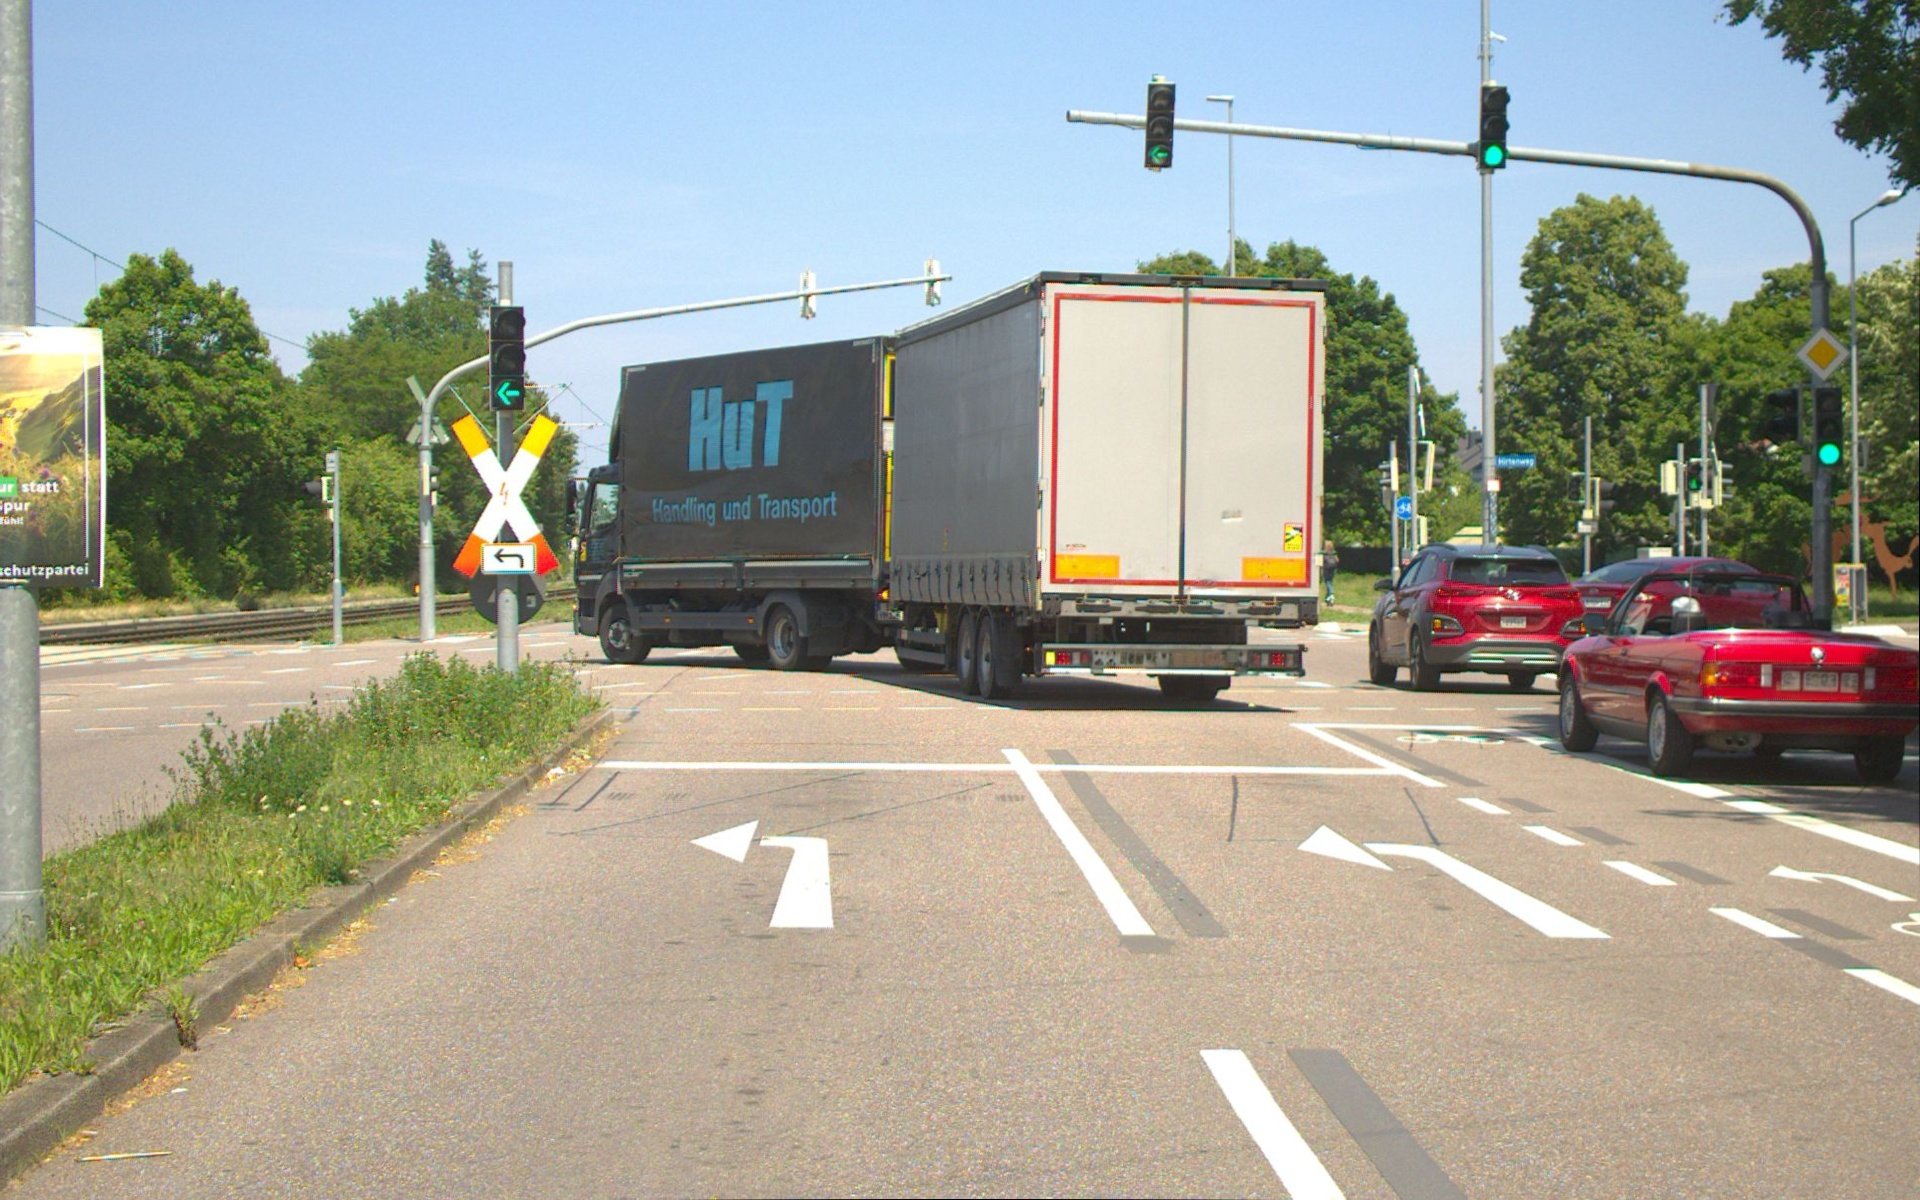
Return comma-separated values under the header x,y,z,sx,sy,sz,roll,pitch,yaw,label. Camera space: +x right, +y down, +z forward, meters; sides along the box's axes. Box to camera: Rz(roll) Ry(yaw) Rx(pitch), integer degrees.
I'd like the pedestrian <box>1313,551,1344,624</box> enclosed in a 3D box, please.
x,y,z,sx,sy,sz,roll,pitch,yaw,label
10.276,-0.341,95.850,0.742,2.007,0.613,1,1,-1,pedestrian

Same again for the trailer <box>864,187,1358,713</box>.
x,y,z,sx,sy,sz,roll,pitch,yaw,label
1.178,-1.349,33.542,2.826,4.406,8.752,1,1,-11,trailer

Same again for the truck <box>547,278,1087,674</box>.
x,y,z,sx,sy,sz,roll,pitch,yaw,label
-1.959,-1.451,41.794,2.827,4.329,8.284,1,1,-31,truck

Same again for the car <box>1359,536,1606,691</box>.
x,y,z,sx,sy,sz,roll,pitch,yaw,label
5.542,0.101,36.905,1.858,1.544,3.887,1,1,-3,car

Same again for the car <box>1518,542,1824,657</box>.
x,y,z,sx,sy,sz,roll,pitch,yaw,label
10.019,-0.045,48.297,4.490,1.498,1.999,-2,2,-43,car

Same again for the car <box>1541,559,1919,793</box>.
x,y,z,sx,sy,sz,roll,pitch,yaw,label
5.272,0.452,23.521,1.654,1.392,4.268,1,1,-3,car
